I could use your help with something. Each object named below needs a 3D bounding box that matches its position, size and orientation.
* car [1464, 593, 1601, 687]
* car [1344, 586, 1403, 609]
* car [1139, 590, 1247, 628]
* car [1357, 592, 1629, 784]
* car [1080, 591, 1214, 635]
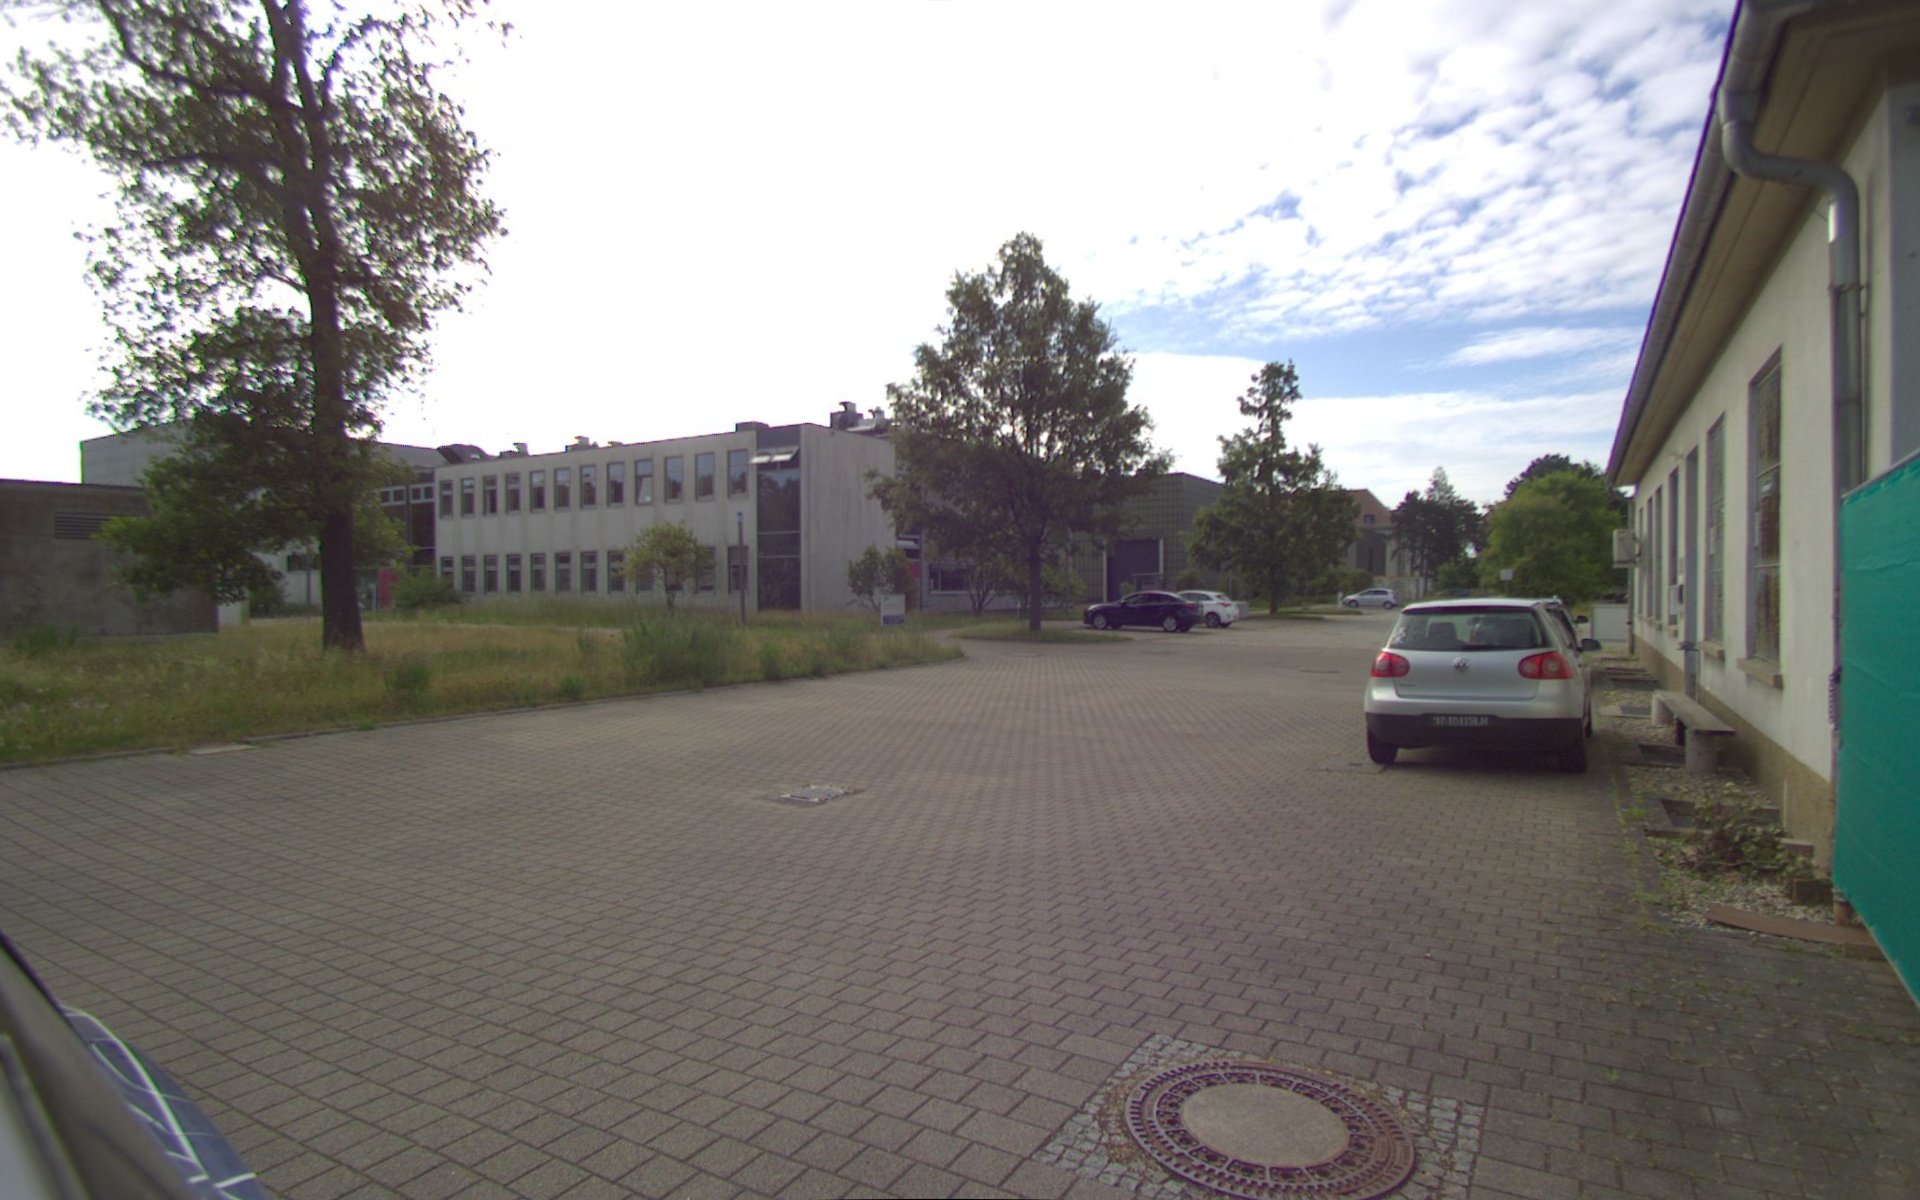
[{"bbox_3d":[10.368,0.606,18.340,1.923,1.472,4.761,0,1,30],"label":"car"},{"bbox_3d":[33.031,-0.204,80.870,4.118,1.637,1.920,2,2,30],"label":"car"},{"bbox_3d":[9.569,0.334,41.633,3.975,1.477,1.862,1,1,32],"label":"car"},{"bbox_3d":[5.315,0.667,10.041,1.923,1.450,4.323,-1,0,30],"label":"car"},{"bbox_3d":[6.846,0.431,37.232,4.463,1.458,1.923,2,1,32],"label":"car"}]
